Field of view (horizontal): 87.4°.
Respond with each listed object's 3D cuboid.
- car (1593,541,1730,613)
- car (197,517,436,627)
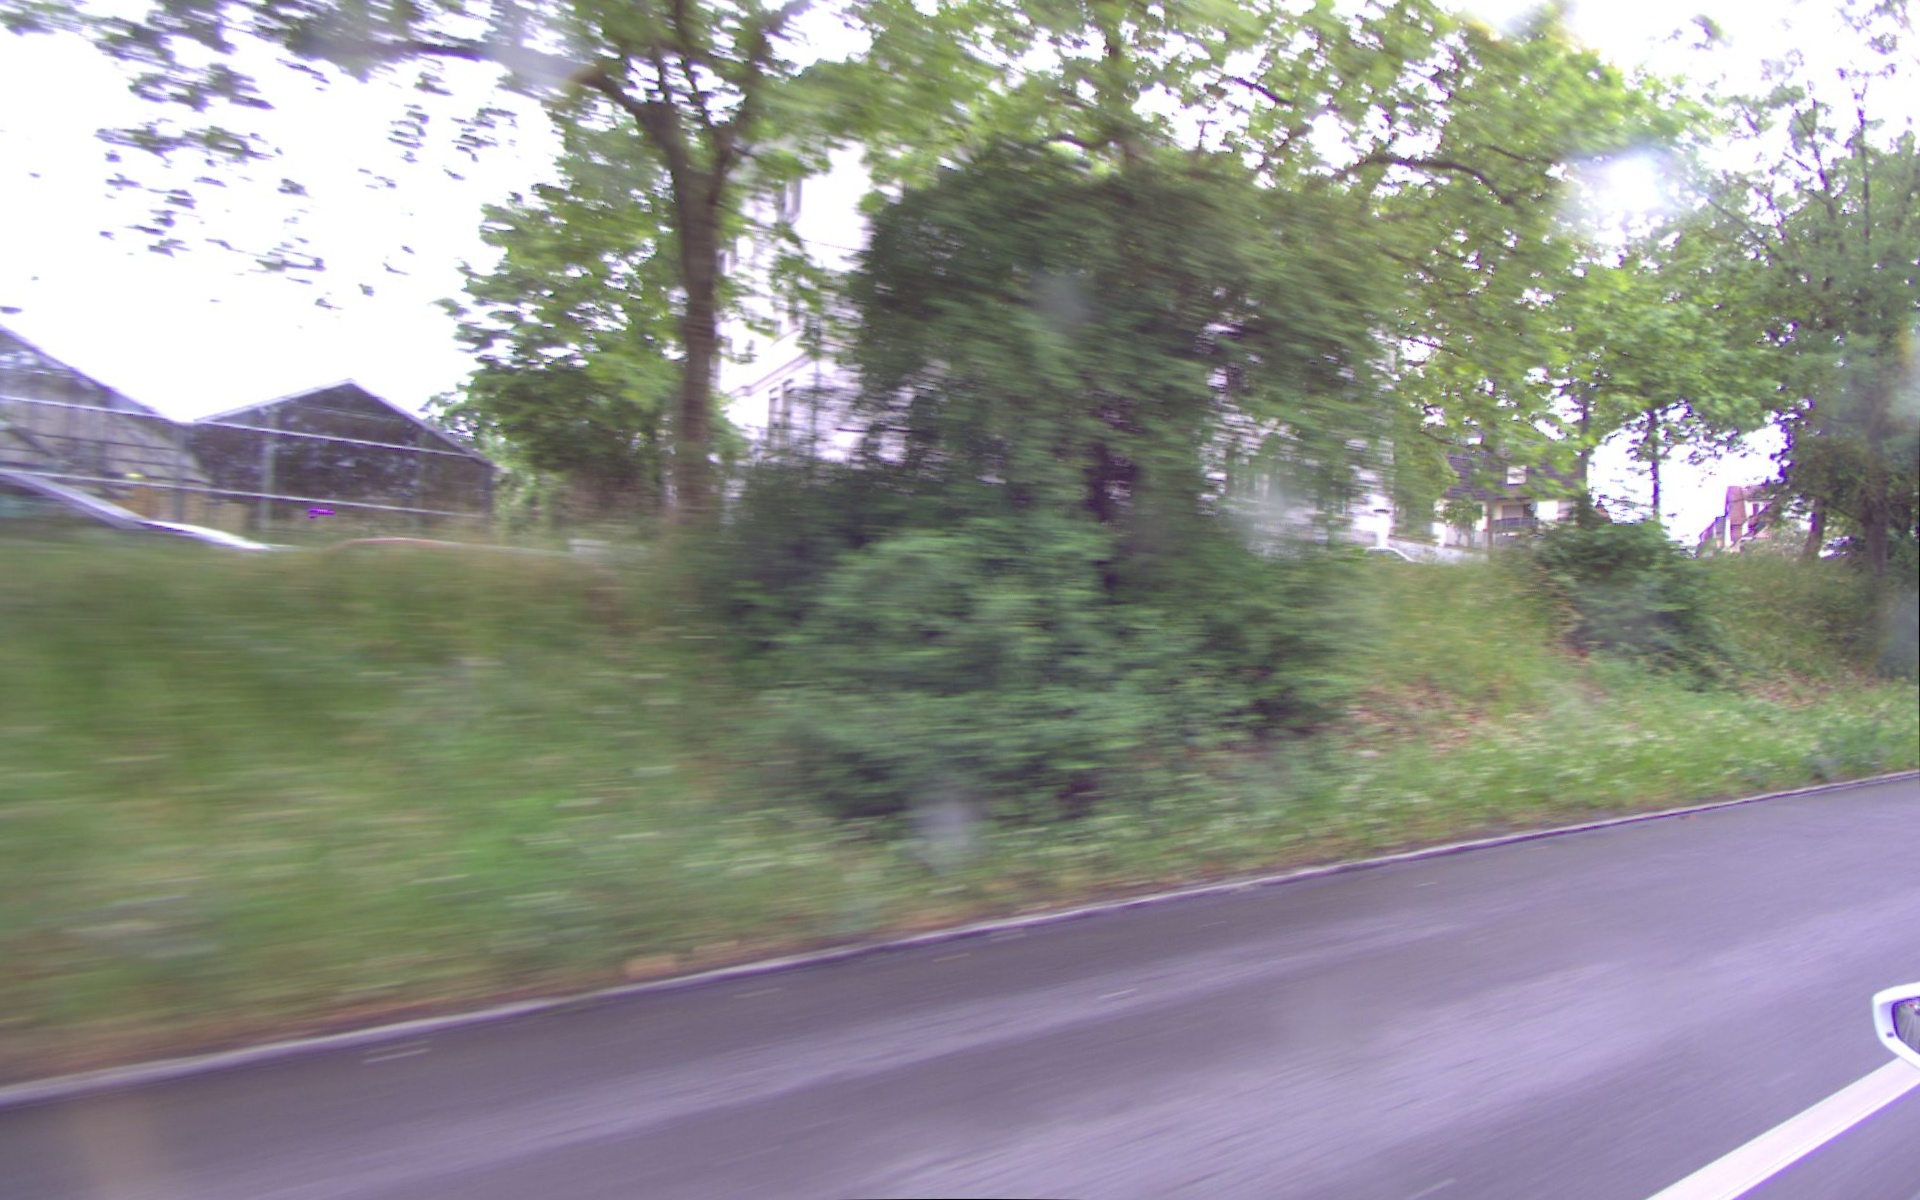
[{"bbox_3d":[17.288,-0.514,24.730,3.340,1.459,1.545,4,-3,-31],"label":"car"},{"bbox_3d":[-10.119,-0.369,16.004,3.019,1.476,1.427,4,-3,-31],"label":"car"}]
